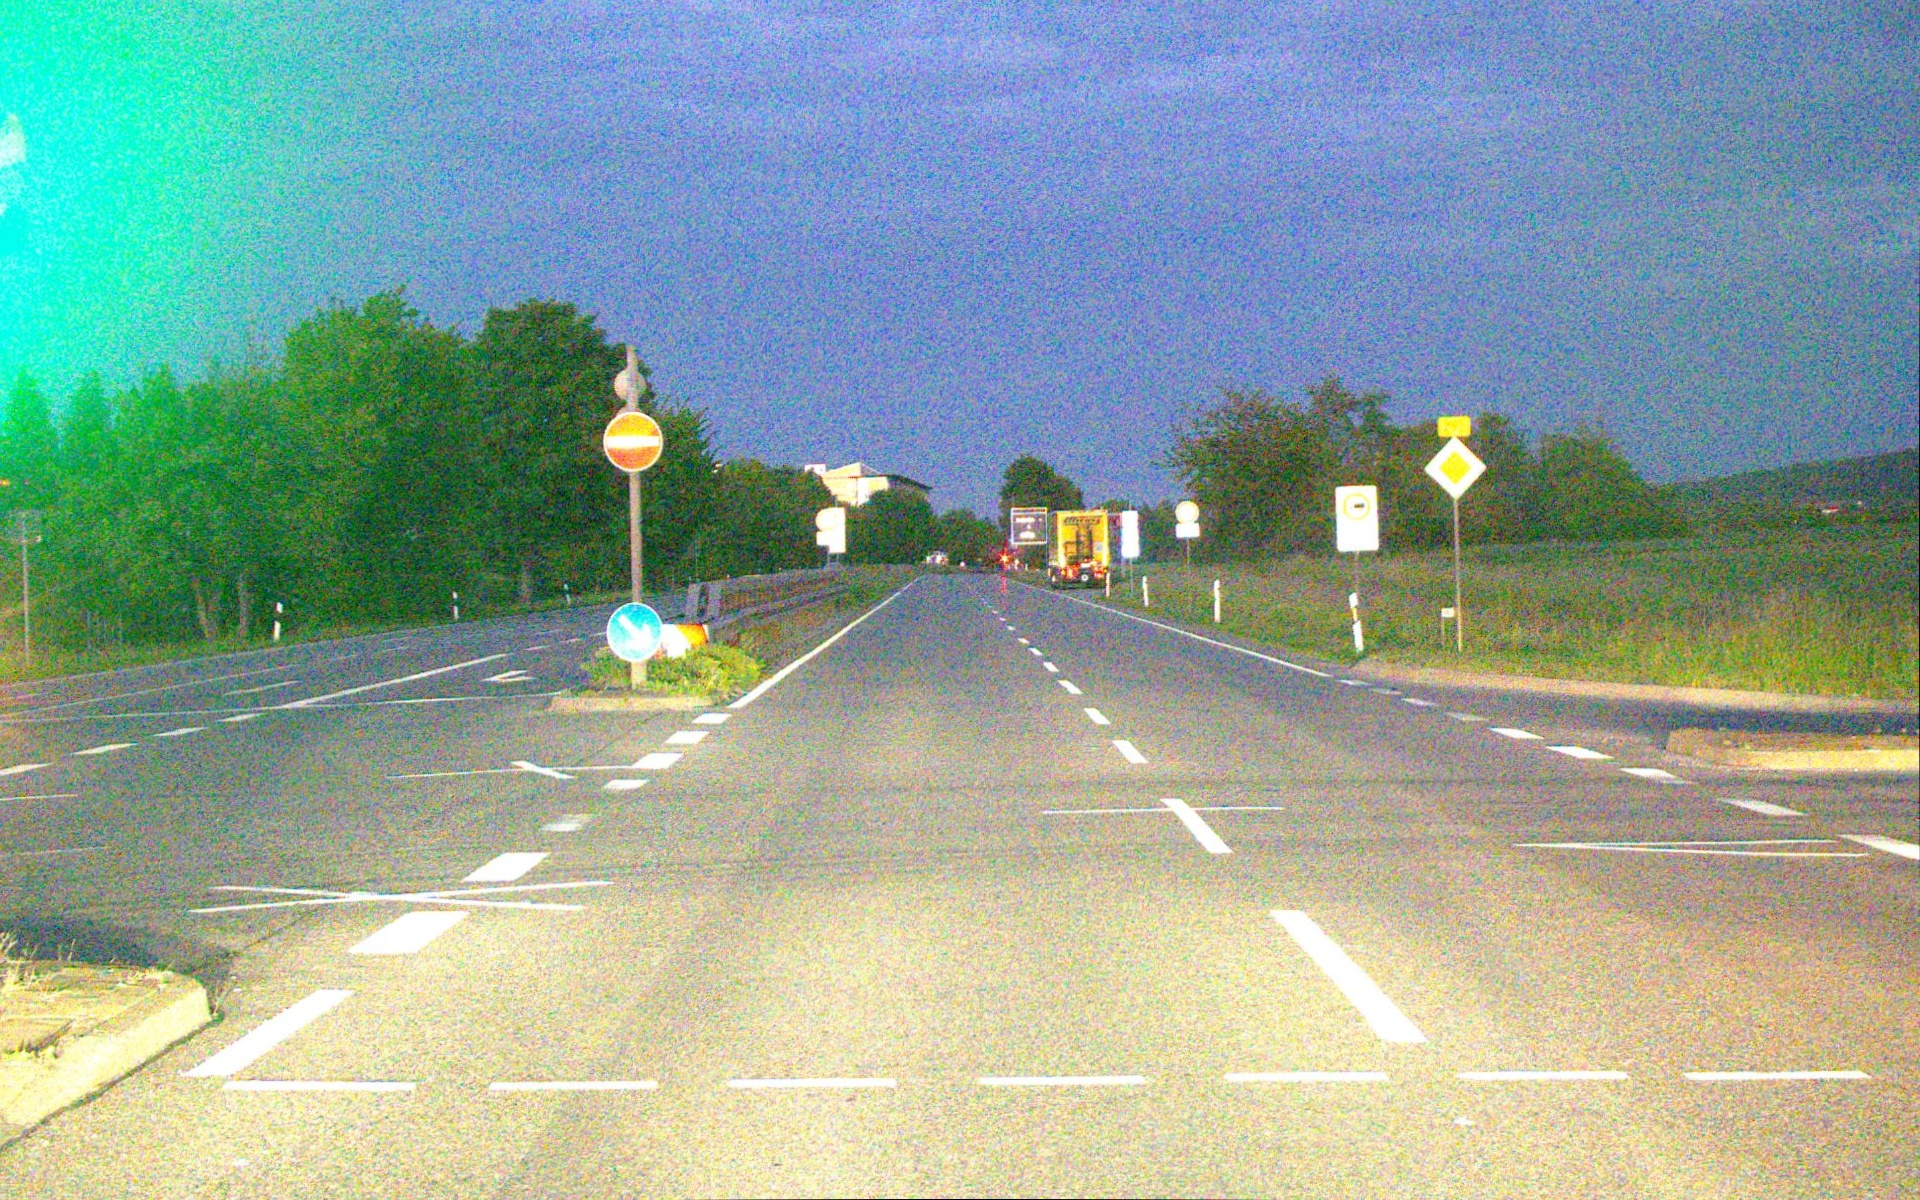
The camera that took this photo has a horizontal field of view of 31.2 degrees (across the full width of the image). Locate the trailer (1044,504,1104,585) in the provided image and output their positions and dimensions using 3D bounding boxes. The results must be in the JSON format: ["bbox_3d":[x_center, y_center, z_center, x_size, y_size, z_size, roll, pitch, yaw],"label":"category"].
[{"bbox_3d":[5.953,-2.890,181.022,2.622,4.090,12.938,-1,1,0],"label":"trailer"}]

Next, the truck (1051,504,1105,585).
[{"bbox_3d":[5.967,-2.831,174.861,2.579,4.057,6.130,0,1,1],"label":"truck"}]
